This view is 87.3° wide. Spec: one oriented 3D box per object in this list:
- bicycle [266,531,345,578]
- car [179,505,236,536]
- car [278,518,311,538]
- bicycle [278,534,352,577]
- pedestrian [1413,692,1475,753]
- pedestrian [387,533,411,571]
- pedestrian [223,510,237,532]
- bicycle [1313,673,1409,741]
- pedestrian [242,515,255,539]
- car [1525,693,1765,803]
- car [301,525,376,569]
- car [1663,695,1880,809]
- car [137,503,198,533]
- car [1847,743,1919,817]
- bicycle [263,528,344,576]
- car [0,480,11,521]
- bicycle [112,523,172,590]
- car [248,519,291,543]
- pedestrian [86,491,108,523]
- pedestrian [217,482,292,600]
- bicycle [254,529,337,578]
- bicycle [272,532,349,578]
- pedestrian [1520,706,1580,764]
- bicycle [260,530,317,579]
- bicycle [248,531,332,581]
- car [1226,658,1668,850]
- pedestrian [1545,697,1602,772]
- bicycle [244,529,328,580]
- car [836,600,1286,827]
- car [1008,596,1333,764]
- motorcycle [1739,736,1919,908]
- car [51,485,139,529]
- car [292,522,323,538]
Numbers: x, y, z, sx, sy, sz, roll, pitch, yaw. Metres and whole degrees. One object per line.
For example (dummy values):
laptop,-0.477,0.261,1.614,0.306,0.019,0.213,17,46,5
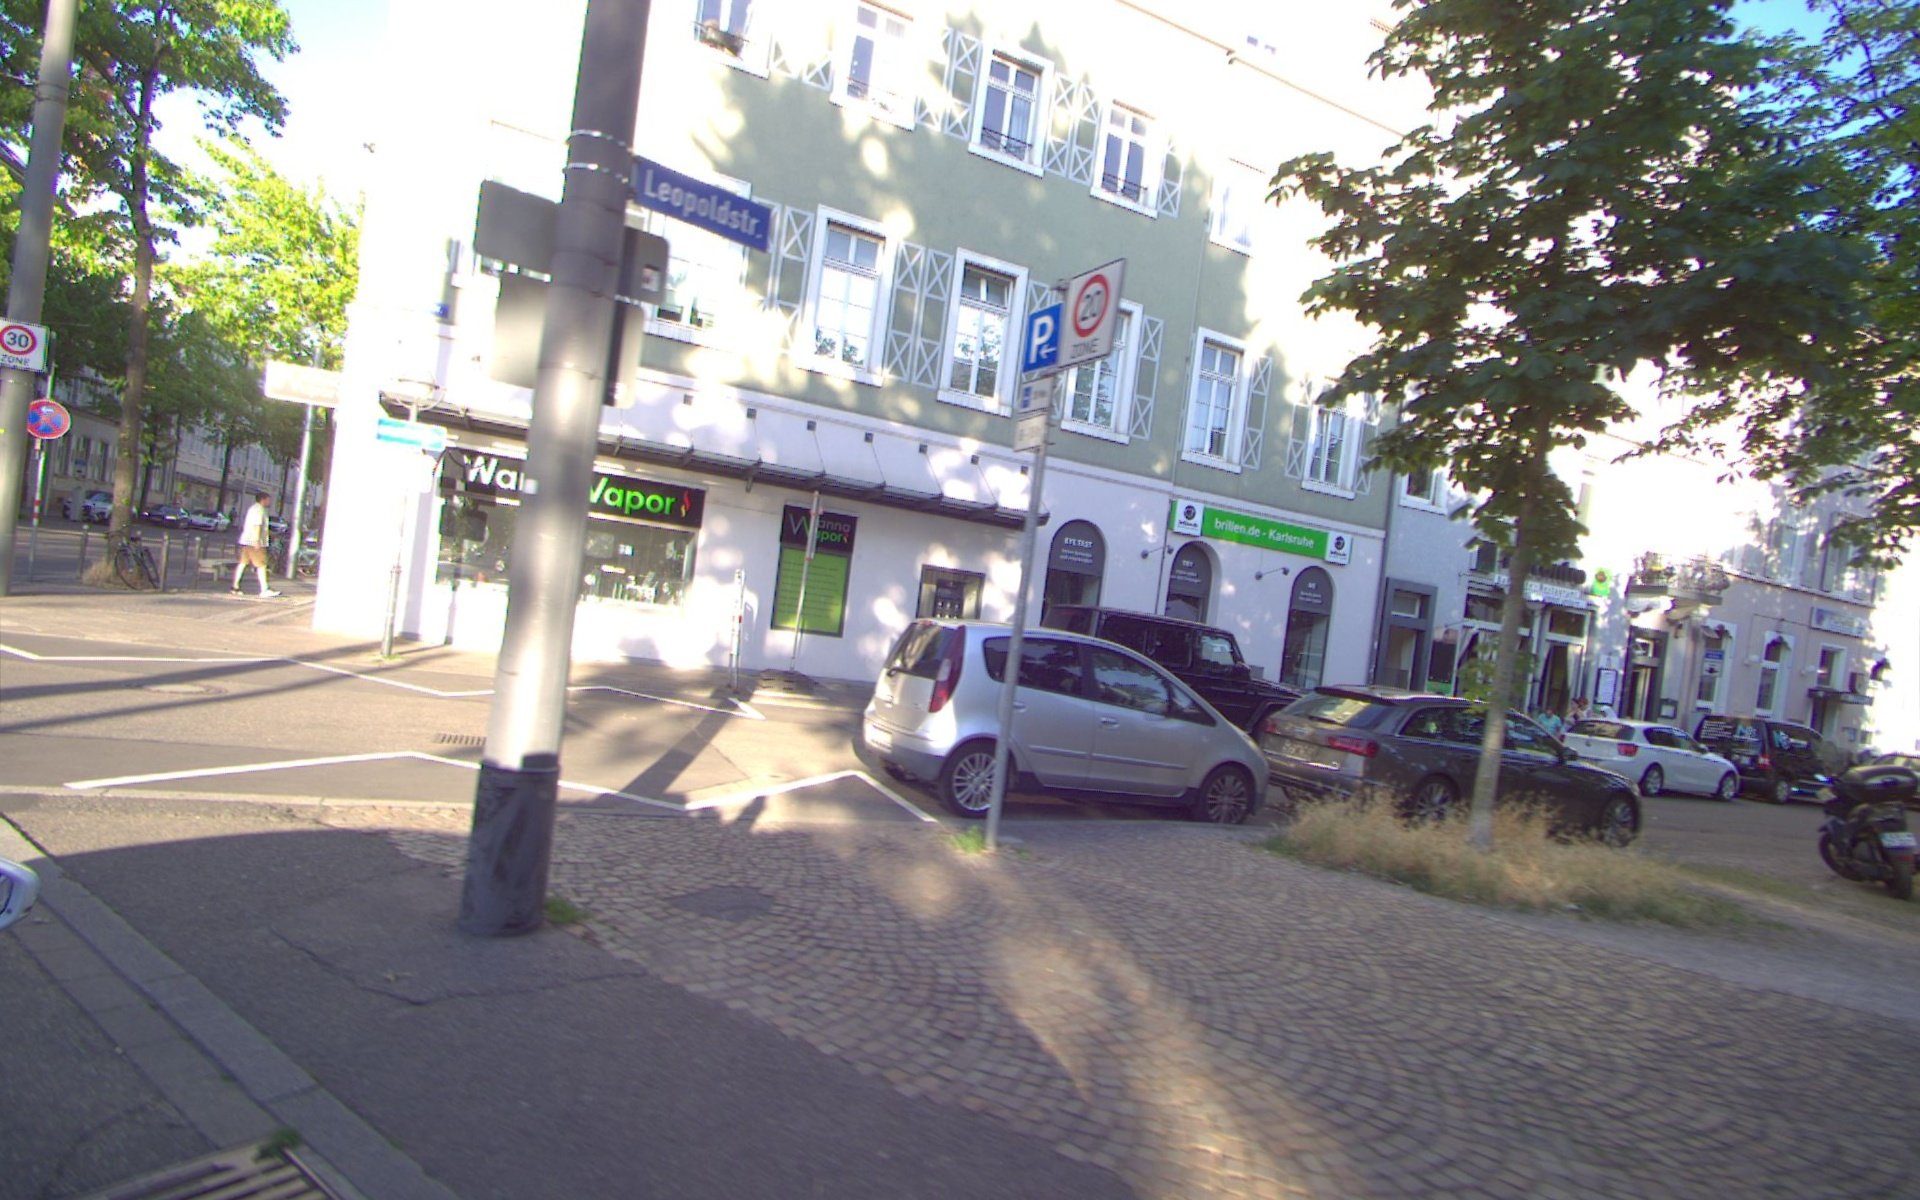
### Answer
bicycle,-20.105,-1.381,30.953,1.847,1.168,0.559,8,0,-22
car,-53.519,-5.629,71.638,1.928,1.659,4.884,8,-1,-22
car,-64.371,-6.941,97.385,1.672,1.517,4.212,8,-1,-22
bicycle,-20.582,-1.400,32.117,1.846,1.169,0.559,5,1,-22
pedestrian,11.211,2.836,23.329,1.014,1.260,0.683,7,0,-24
pedestrian,-26.766,-2.288,47.994,0.795,1.664,0.751,6,1,-24
pedestrian,-63.987,-6.928,88.192,0.701,1.828,0.670,7,1,-29
bicycle,8.877,2.362,22.237,1.963,1.260,0.683,8,0,-25
pedestrian,-62.758,-6.427,88.755,0.702,2.029,0.670,7,1,-30
car,14.137,3.050,20.757,4.457,1.636,2.012,8,-1,-25
car,-23.975,-2.015,38.953,1.757,1.458,4.399,4,0,-23
car,18.677,3.505,23.159,4.457,1.986,2.011,8,-1,-25
car,-50.615,-5.183,64.325,1.945,1.429,4.815,8,-1,-26
car,25.405,4.819,26.007,4.457,1.589,2.012,8,-1,-25
bicycle,-19.818,-1.437,30.406,1.847,1.168,0.559,8,0,-22
car,-40.679,-4.266,40.627,1.943,1.659,3.979,8,-1,-22
bicycle,-14.392,-0.764,17.725,0.351,1.089,1.688,7,-1,-27
car,-60.886,-6.063,88.809,1.943,1.712,4.987,8,-1,-22
pedestrian,-51.467,-5.527,59.998,0.679,1.741,0.652,8,0,-23
pedestrian,-13.154,-1.092,18.746,0.841,2.037,0.833,8,0,-43
bicycle,-19.629,-1.353,29.765,1.847,1.168,0.559,8,0,-22
bicycle,-20.313,-1.399,31.513,1.847,1.168,0.559,8,0,-22
pedestrian,14.374,3.281,24.496,1.014,1.260,0.683,7,0,-24
bicycle,-18.580,-1.263,27.822,1.652,1.168,0.461,7,0,27
bicycle,-19.361,-1.272,29.112,1.847,1.168,0.559,8,0,-22
car,5.384,1.710,11.030,4.615,1.532,1.729,8,-1,-25
pedestrian,14.143,3.094,23.187,0.726,1.588,0.683,7,0,-24
bicycle,-19.150,-1.271,28.627,1.847,1.168,0.346,8,0,-22
car,0.904,1.021,9.080,3.533,1.532,1.729,8,-1,-25
car,3.263,1.240,15.601,4.456,1.987,2.011,8,-1,-25
motorcycle,9.084,2.202,10.253,0.934,1.383,2.247,7,-2,17
car,-45.771,-4.882,53.343,1.945,1.658,4.786,11,-2,-23
car,-67.890,-7.258,104.670,1.975,1.307,3.977,8,-1,-24
